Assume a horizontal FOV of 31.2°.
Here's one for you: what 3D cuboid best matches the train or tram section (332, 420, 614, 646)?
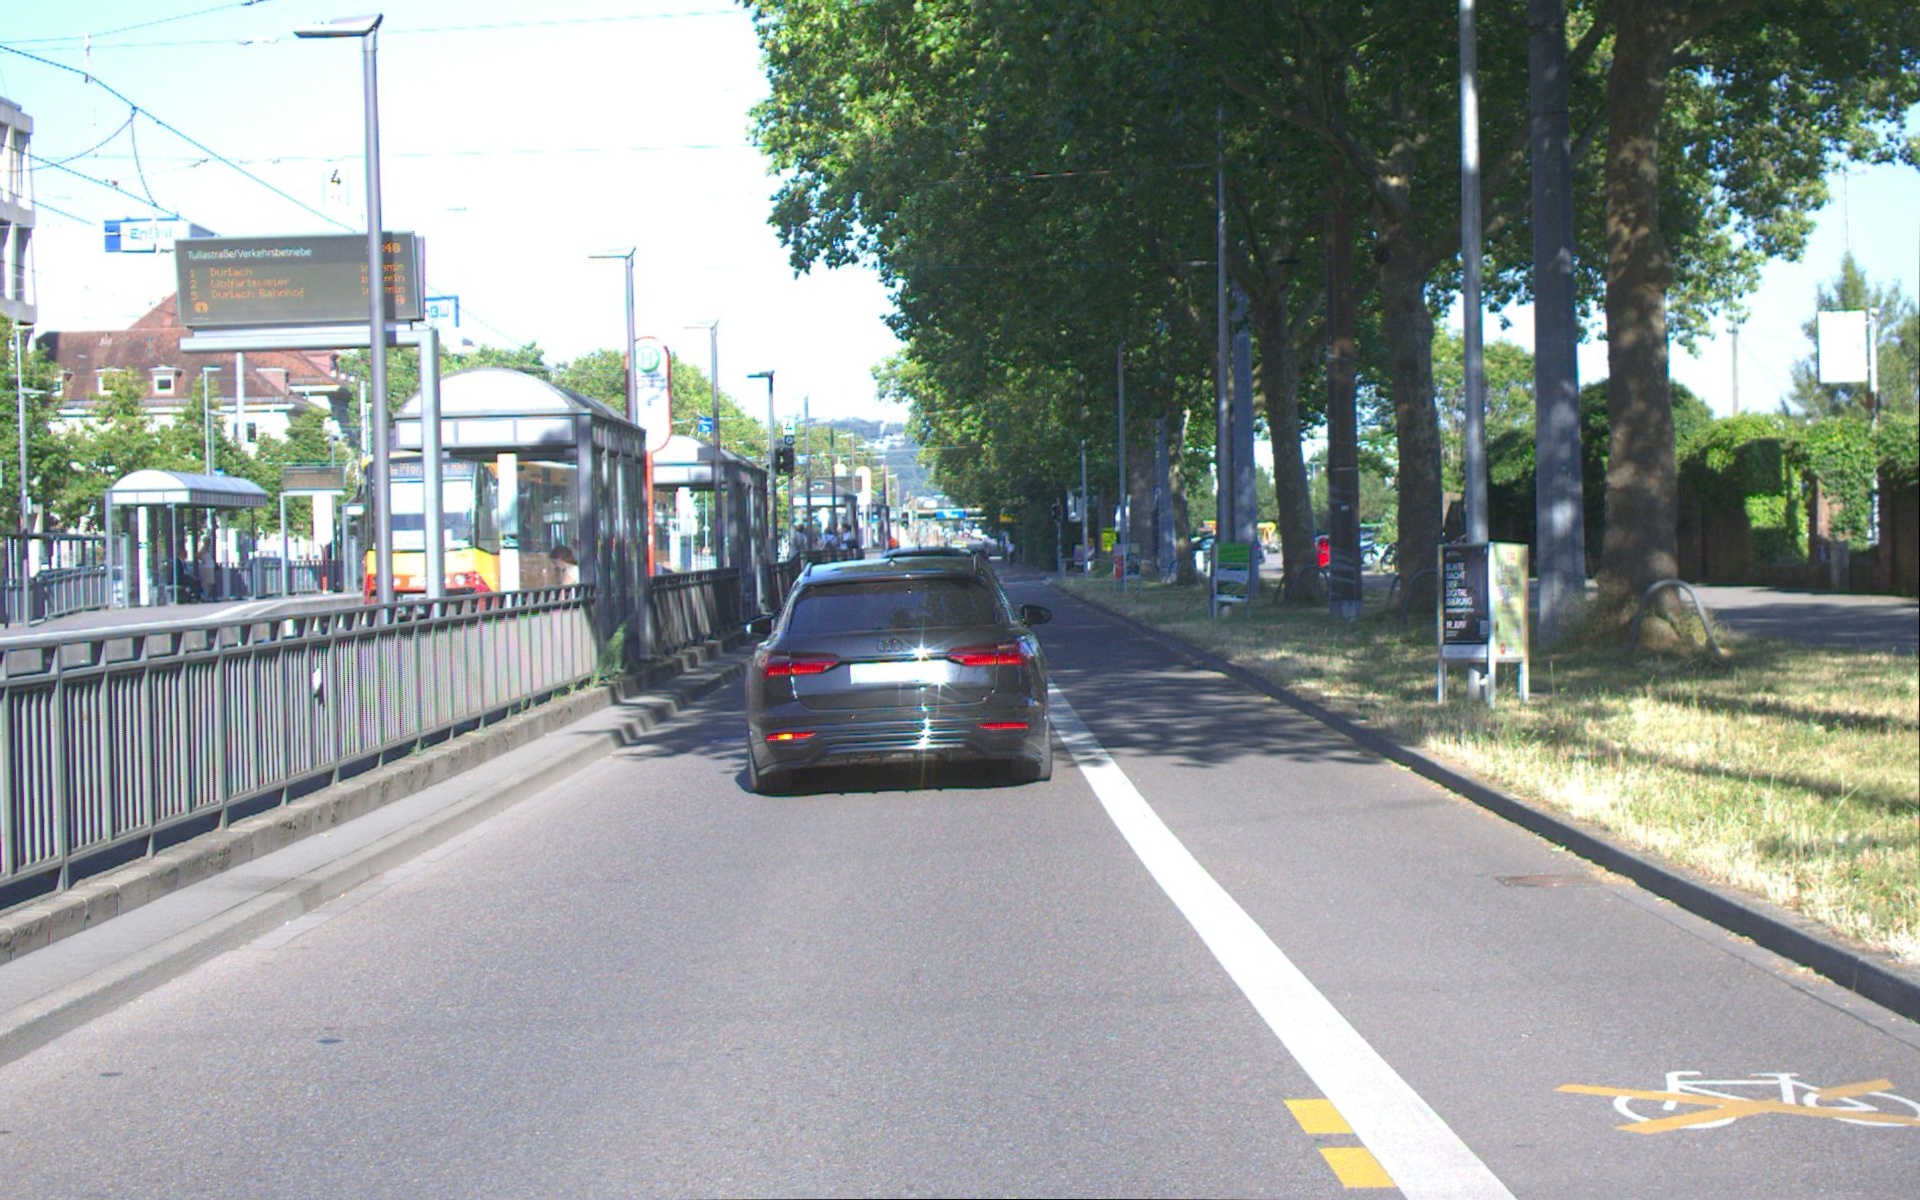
[{"bbox_3d":[-9.061,-1.261,66.011,3.309,3.816,14.220,-1,1,0],"label":"train or tram section"}]

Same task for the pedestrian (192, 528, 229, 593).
[{"bbox_3d":[-17.778,-0.935,81.576,0.614,1.522,0.724,-1,1,9],"label":"pedestrian"}]

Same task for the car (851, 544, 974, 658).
[{"bbox_3d":[-0.752,-0.022,52.166,1.762,1.614,4.000,-1,1,-2],"label":"car"}]

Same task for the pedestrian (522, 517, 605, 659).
[{"bbox_3d":[-4.293,-0.132,37.285,0.746,1.503,0.666,-2,1,3],"label":"pedestrian"}]

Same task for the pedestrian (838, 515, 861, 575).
[{"bbox_3d":[-3.294,-1.650,102.549,0.611,1.778,0.613,-1,1,1],"label":"pedestrian"}]

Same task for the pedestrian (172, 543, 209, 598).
[{"bbox_3d":[-17.686,-0.684,79.027,0.614,1.255,0.724,-1,1,4],"label":"pedestrian"}]

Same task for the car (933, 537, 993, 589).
[{"bbox_3d":[0.087,-1.198,111.305,1.762,1.614,4.000,-1,1,-2],"label":"car"}]

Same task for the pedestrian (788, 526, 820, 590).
[{"bbox_3d":[-3.823,-1.034,84.322,0.614,1.543,0.724,-1,1,11],"label":"pedestrian"}]

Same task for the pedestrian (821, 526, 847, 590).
[{"bbox_3d":[-3.297,-1.096,90.013,0.611,1.663,0.613,-1,1,2],"label":"pedestrian"}]

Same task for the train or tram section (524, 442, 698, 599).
[{"bbox_3d":[-9.116,-2.067,91.211,3.309,3.816,11.844,-1,1,0],"label":"train or tram section"}]

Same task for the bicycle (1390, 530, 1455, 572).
[{"bbox_3d":[13.319,-1.418,98.989,1.773,1.116,0.439,-3,1,0],"label":"bicycle"}]

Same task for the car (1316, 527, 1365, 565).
[{"bbox_3d":[15.694,-2.217,141.991,1.614,1.510,3.803,-1,1,1],"label":"car"}]

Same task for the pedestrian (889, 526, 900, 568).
[{"bbox_3d":[-2.662,-2.152,139.507,0.412,1.711,0.666,-1,1,0],"label":"pedestrian"}]

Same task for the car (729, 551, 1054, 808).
[{"bbox_3d":[-0.459,0.444,21.935,1.878,1.452,3.357,-1,1,-2],"label":"car"}]

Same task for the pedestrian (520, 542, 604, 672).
[{"bbox_3d":[-3.964,0.065,34.230,0.742,1.269,0.525,-1,1,0],"label":"pedestrian"}]
